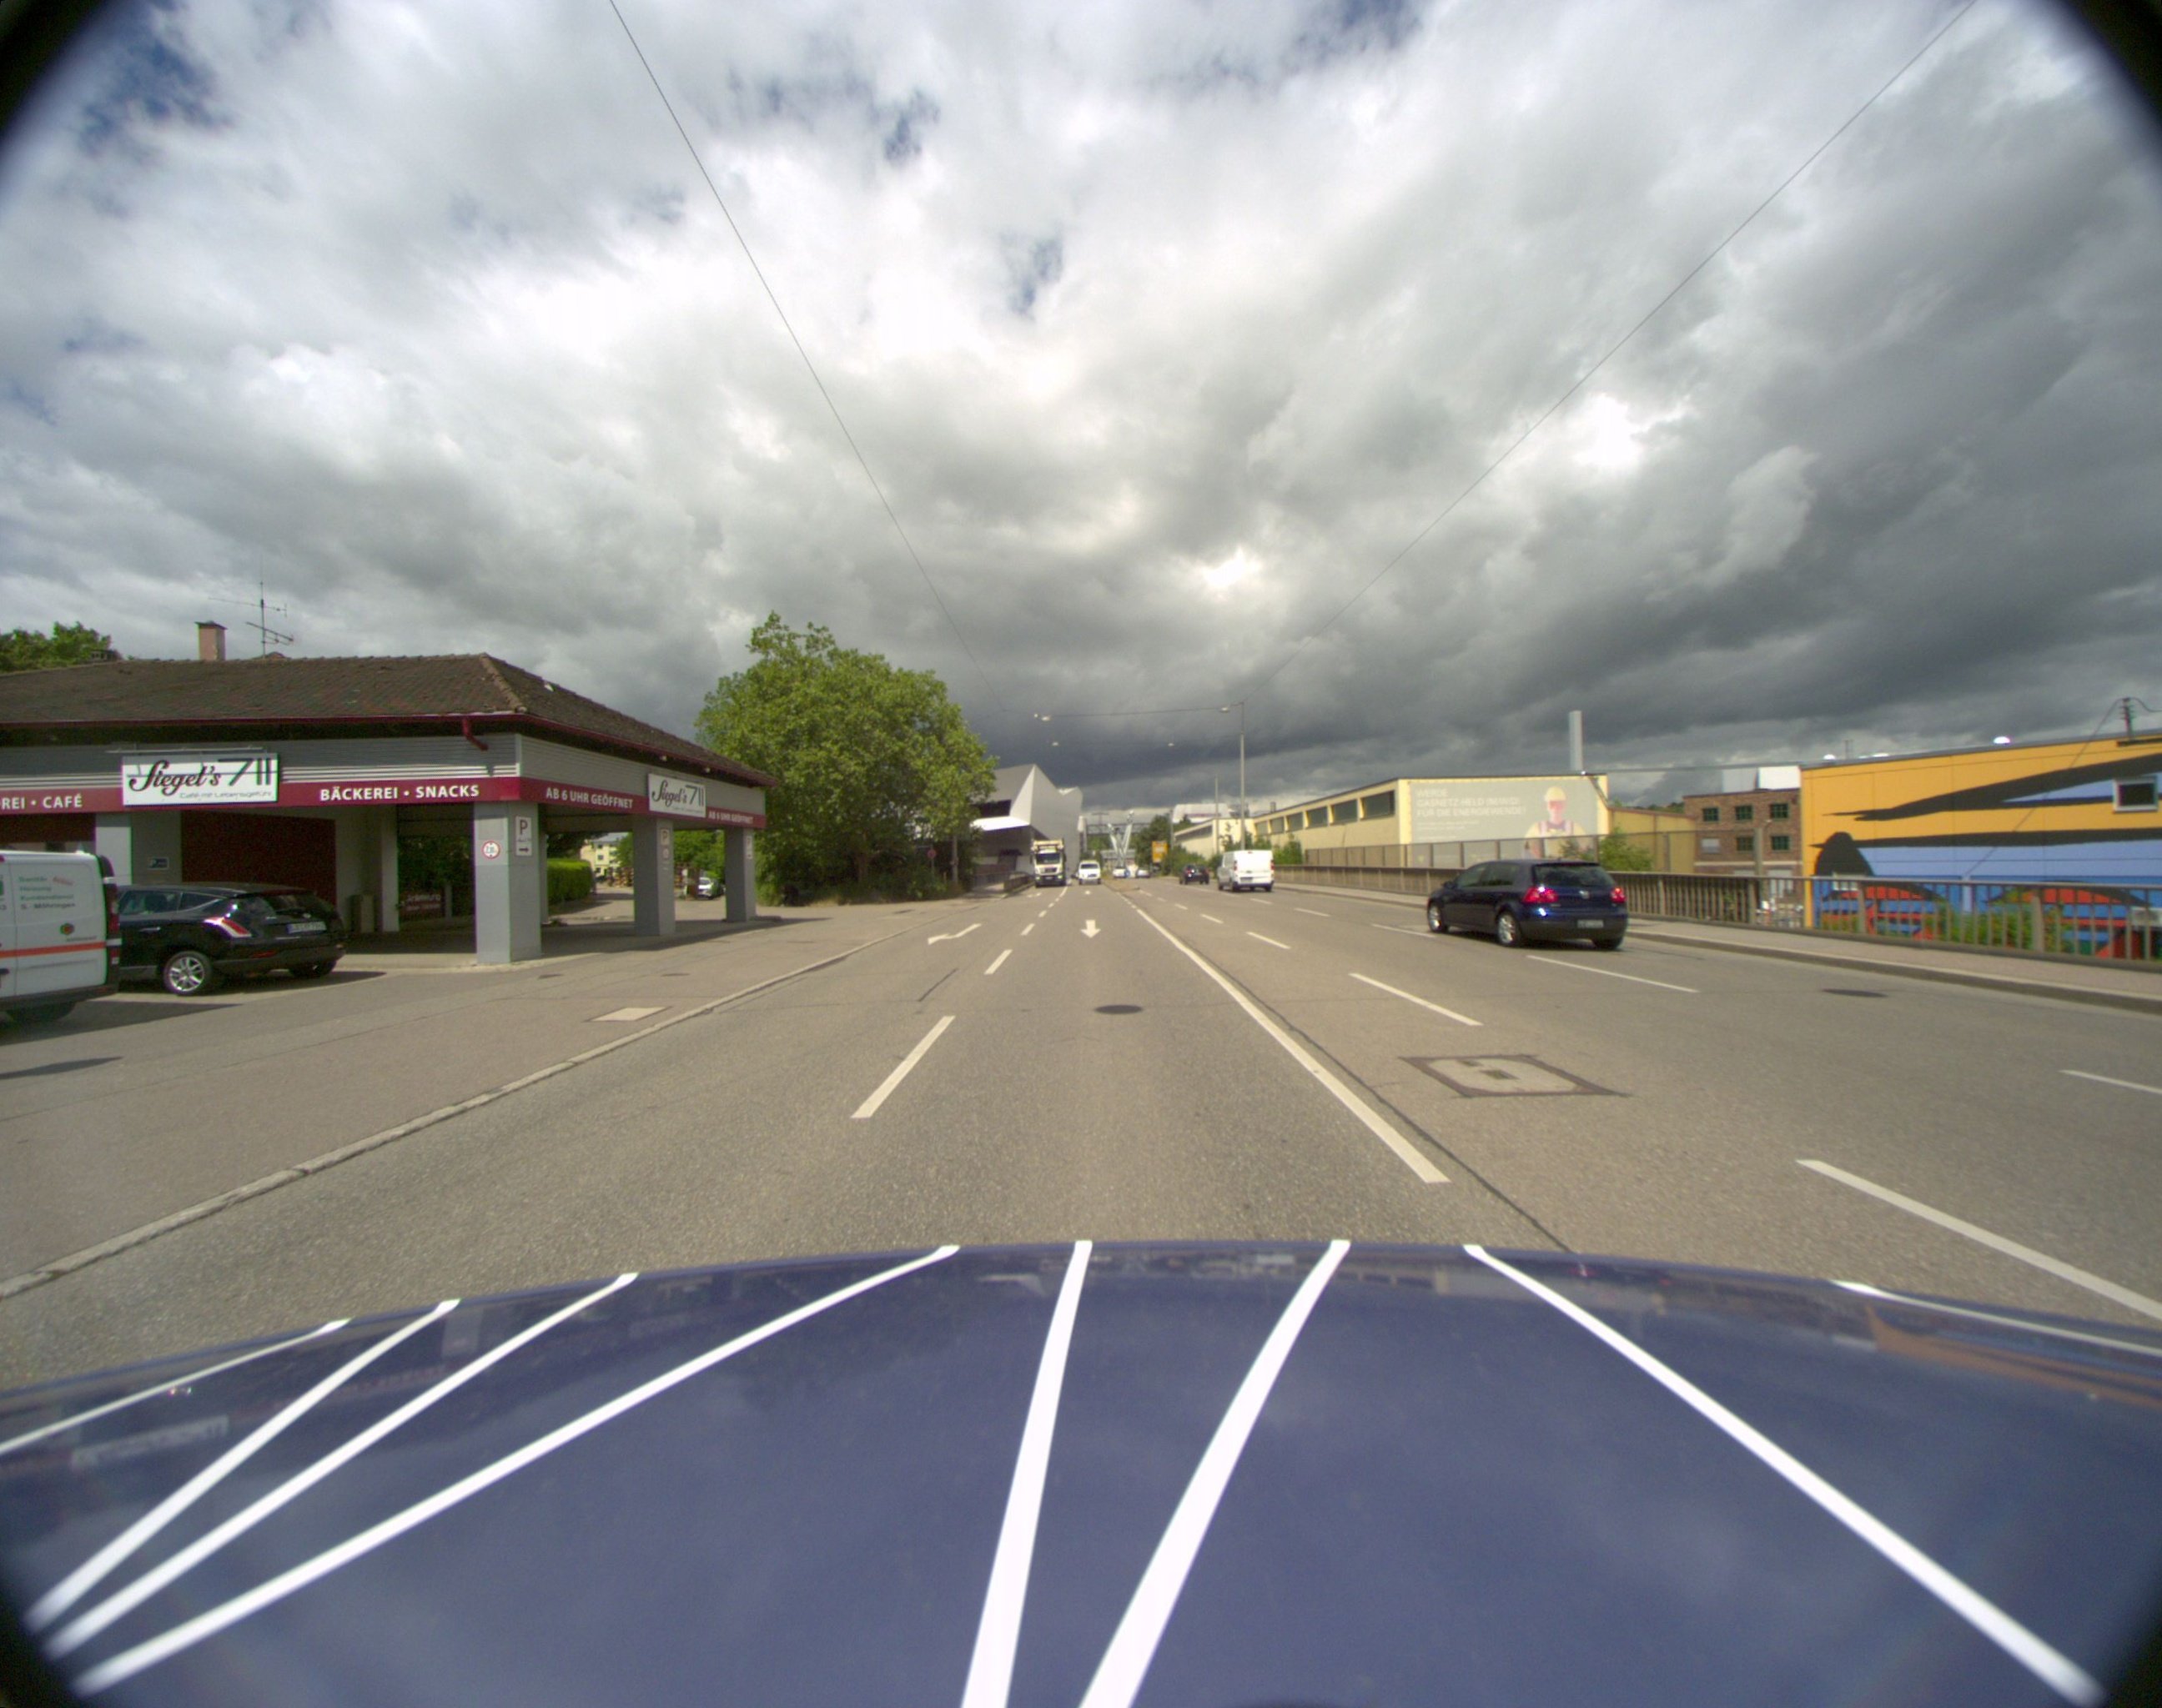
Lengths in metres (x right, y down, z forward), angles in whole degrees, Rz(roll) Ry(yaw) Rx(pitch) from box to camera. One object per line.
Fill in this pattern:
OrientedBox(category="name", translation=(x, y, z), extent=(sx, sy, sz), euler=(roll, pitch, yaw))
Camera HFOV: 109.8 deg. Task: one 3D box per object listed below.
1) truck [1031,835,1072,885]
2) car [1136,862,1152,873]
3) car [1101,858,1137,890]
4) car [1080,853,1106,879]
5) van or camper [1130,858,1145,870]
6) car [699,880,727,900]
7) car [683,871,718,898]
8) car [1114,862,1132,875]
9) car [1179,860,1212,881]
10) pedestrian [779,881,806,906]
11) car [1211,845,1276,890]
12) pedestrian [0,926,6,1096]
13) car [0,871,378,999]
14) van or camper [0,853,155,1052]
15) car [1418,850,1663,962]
OrientedBox(category="truck", translation=(-2.344, 0.498, 64.987), extent=(2.836, 3.889, 10.367), euler=(0, 0, 1))
OrientedBox(category="car", translation=(8.226, 1.719, 99.043), extent=(1.612, 1.404, 3.799), euler=(-1, 0, -1))
OrientedBox(category="car", translation=(2.242, 1.180, 45.738), extent=(1.870, 1.782, 4.207), euler=(-1, 0, 0))
OrientedBox(category="car", translation=(1.045, 1.008, 64.313), extent=(1.935, 2.078, 4.209), euler=(-1, 0, 3))
OrientedBox(category="van or camper", translation=(9.872, 1.707, 133.615), extent=(2.164, 2.108, 5.470), euler=(-1, 0, -1))
OrientedBox(category="car", translation=(-32.816, 3.221, 67.859), extent=(2.003, 1.499, 3.992), euler=(3, -1, -23))
OrientedBox(category="car", translation=(-27.989, 2.233, 56.027), extent=(2.003, 1.709, 4.104), euler=(3, -1, -23))
OrientedBox(category="car", translation=(5.257, 1.793, 95.126), extent=(1.806, 1.543, 3.770), euler=(-2, 0, -2))
OrientedBox(category="car", translation=(8.019, 1.117, 53.415), extent=(1.612, 1.404, 3.799), euler=(-2, 0, -1))
OrientedBox(category="pedestrian", translation=(-15.211, 2.072, 40.066), extent=(0.884, 1.241, 0.967), euler=(-2, 0, 29))
OrientedBox(category="car", translation=(7.889, 0.638, 37.367), extent=(1.896, 2.002, 5.650), euler=(-2, 0, 0))
OrientedBox(category="pedestrian", translation=(-9.233, 1.139, 5.884), extent=(0.714, 1.697, 0.739), euler=(-2, 0, 1))
OrientedBox(category="car", translation=(-12.694, 1.094, 10.879), extent=(3.460, 1.477, 1.835), euler=(3, 1, -2))
OrientedBox(category="van or camper", translation=(-13.296, 0.964, 7.798), extent=(4.909, 1.946, 2.212), euler=(1, 1, 1))
OrientedBox(category="car", translation=(7.717, 0.783, 13.299), extent=(1.861, 1.608, 4.000), euler=(-2, 0, 1))
